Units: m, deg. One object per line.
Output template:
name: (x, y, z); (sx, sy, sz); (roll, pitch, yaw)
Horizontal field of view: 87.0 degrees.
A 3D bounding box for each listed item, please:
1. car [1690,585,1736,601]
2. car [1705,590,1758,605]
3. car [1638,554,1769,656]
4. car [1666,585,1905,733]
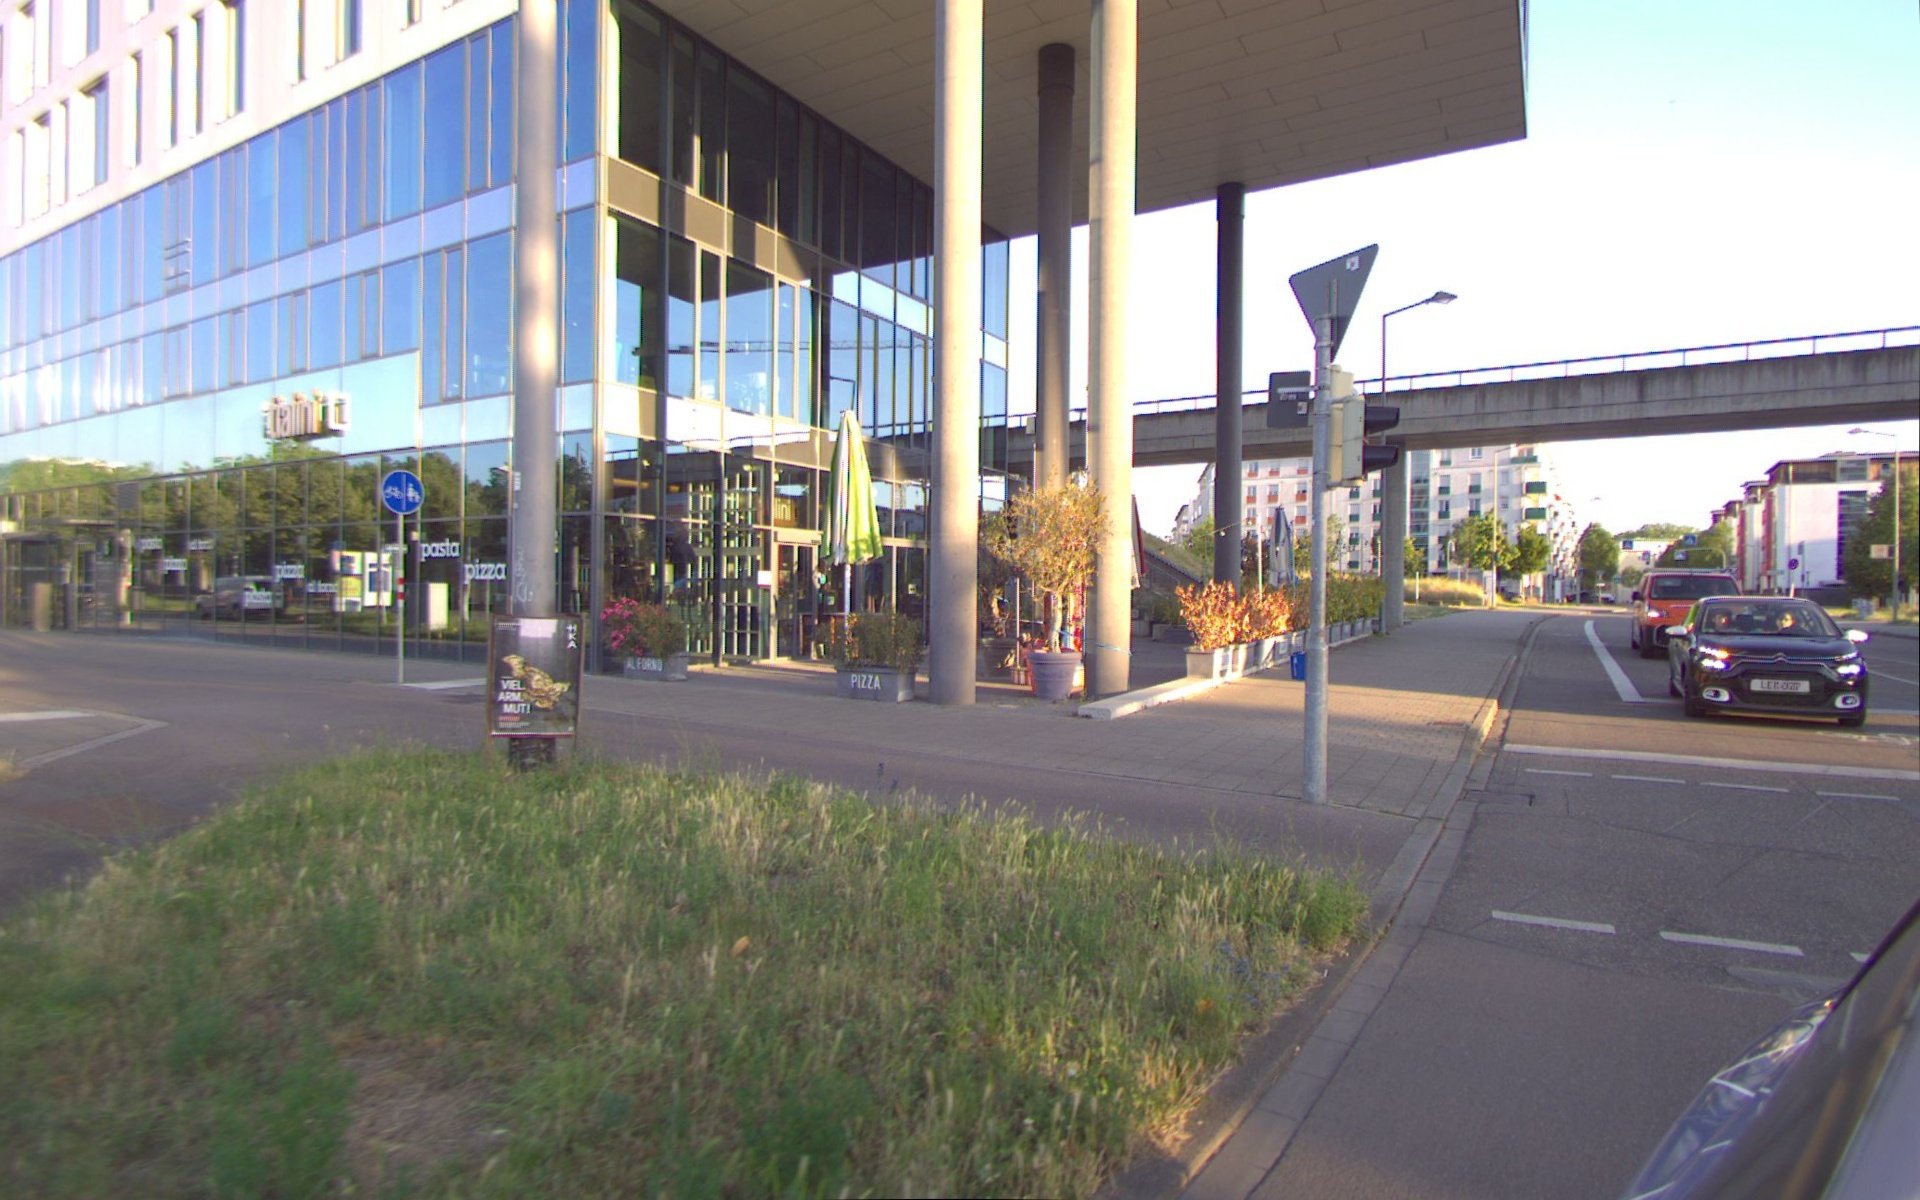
car: (99.129, -0.891, 133.275); (4.708, 2.039, 1.979); (1, 1, 31)
car: (82.621, -0.283, 108.447); (4.362, 1.579, 1.817); (1, 1, 35)
car: (16.441, 0.080, 22.603); (1.917, 2.016, 4.768); (0, 0, 31)
car: (10.328, 0.605, 12.984); (1.746, 1.571, 4.028); (1, 1, 30)
